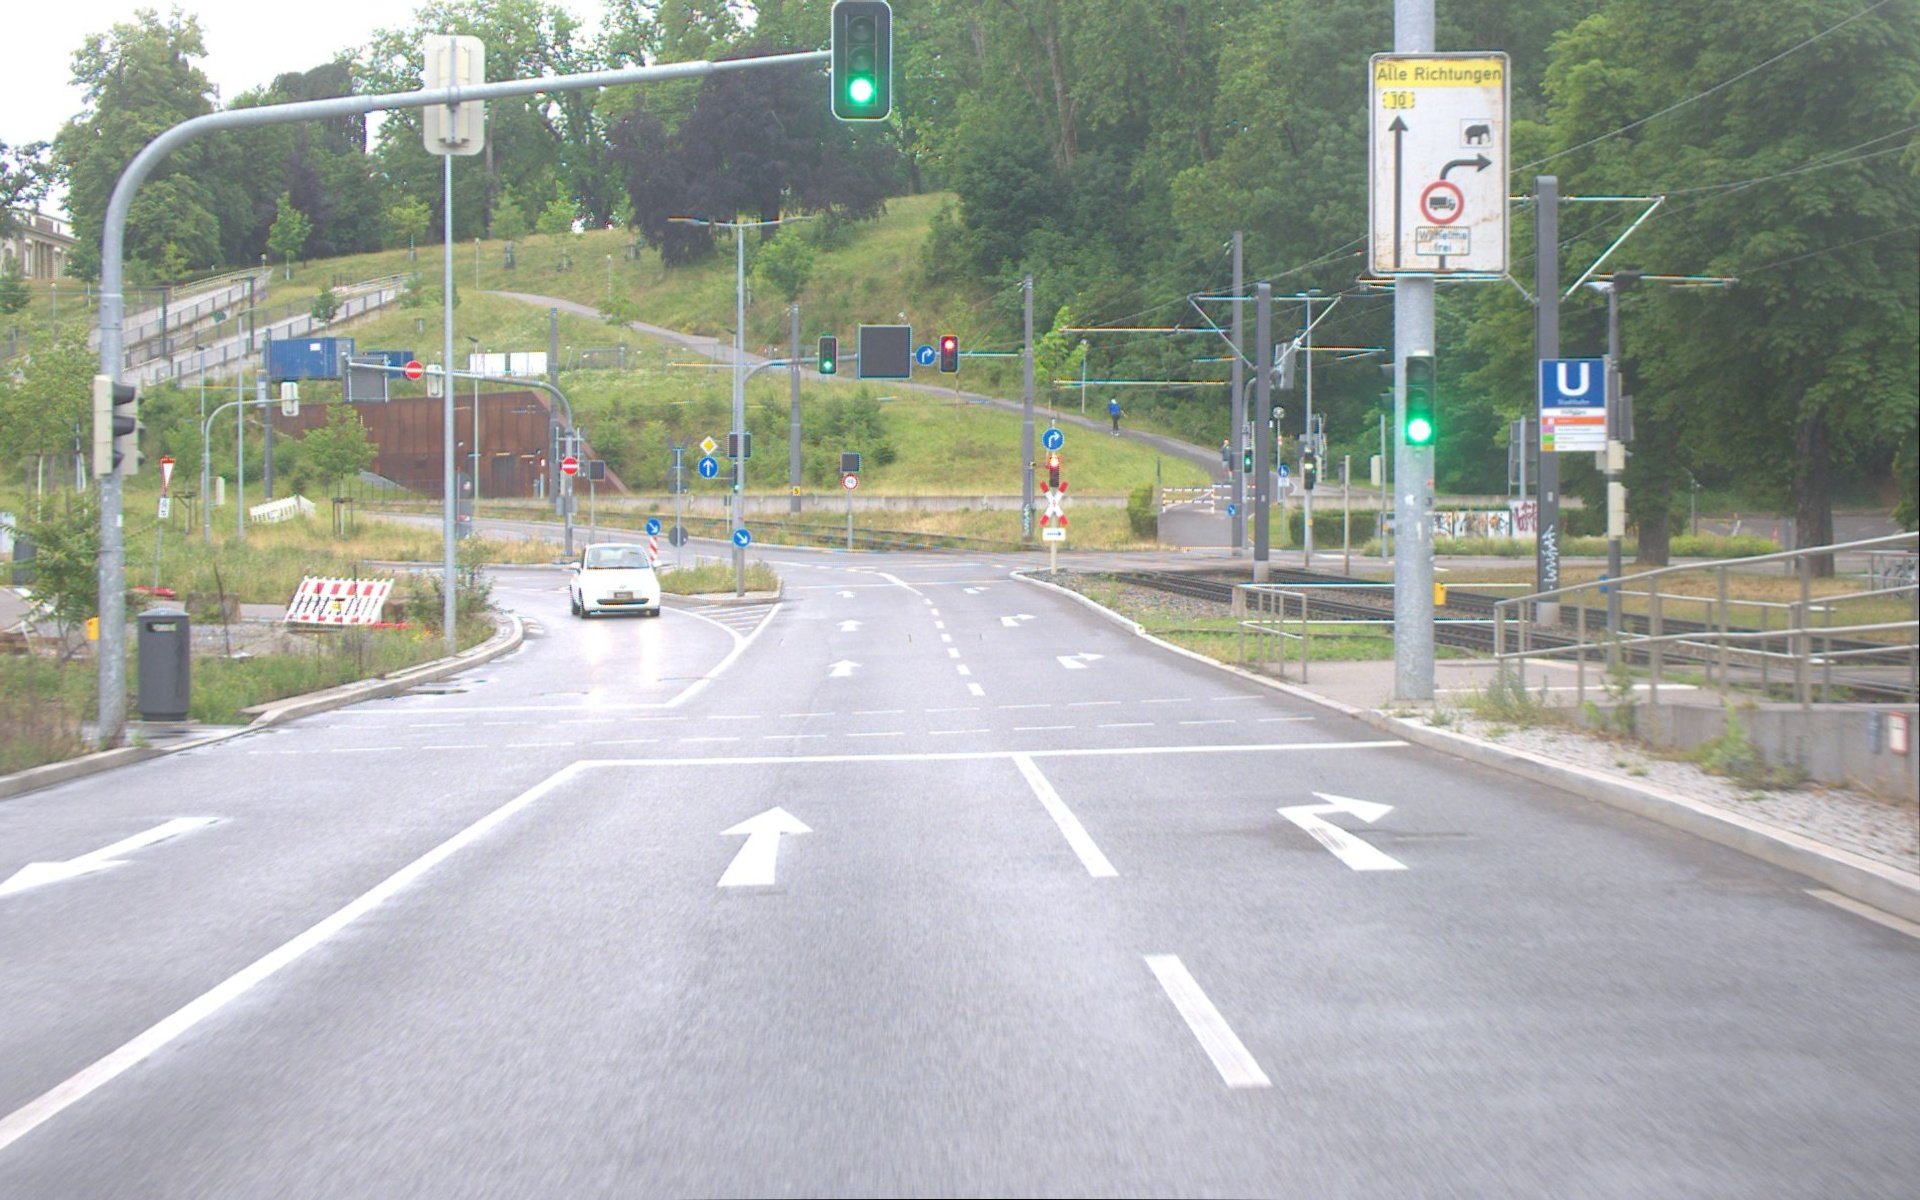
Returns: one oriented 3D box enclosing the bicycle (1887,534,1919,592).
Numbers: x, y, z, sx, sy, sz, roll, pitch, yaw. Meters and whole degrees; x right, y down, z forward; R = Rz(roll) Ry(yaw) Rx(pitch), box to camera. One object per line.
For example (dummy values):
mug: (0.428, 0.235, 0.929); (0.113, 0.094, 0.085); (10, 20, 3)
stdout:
bicycle: (17.943, -0.687, 62.852); (1.810, 1.028, 0.653); (-1, 2, -3)

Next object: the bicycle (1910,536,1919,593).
bicycle: (18.105, -0.648, 61.898); (1.810, 1.028, 0.653); (-1, 2, -3)

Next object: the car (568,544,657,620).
car: (-7.205, -0.392, 71.068); (1.586, 1.486, 3.715); (-1, 1, -9)

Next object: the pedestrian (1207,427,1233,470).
pedestrian: (11.136, -6.492, 147.369); (0.957, 1.775, 1.123); (2, 3, 1)

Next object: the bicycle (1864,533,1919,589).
bicycle: (17.981, -0.734, 64.557); (1.810, 1.028, 0.653); (-1, 2, -3)

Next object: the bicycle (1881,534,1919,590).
bicycle: (18.051, -0.712, 63.676); (1.810, 1.028, 0.653); (-1, 2, -3)

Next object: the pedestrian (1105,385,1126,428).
pedestrian: (7.500, -9.345, 166.058); (0.788, 2.006, 0.657); (-4, 8, -16)
